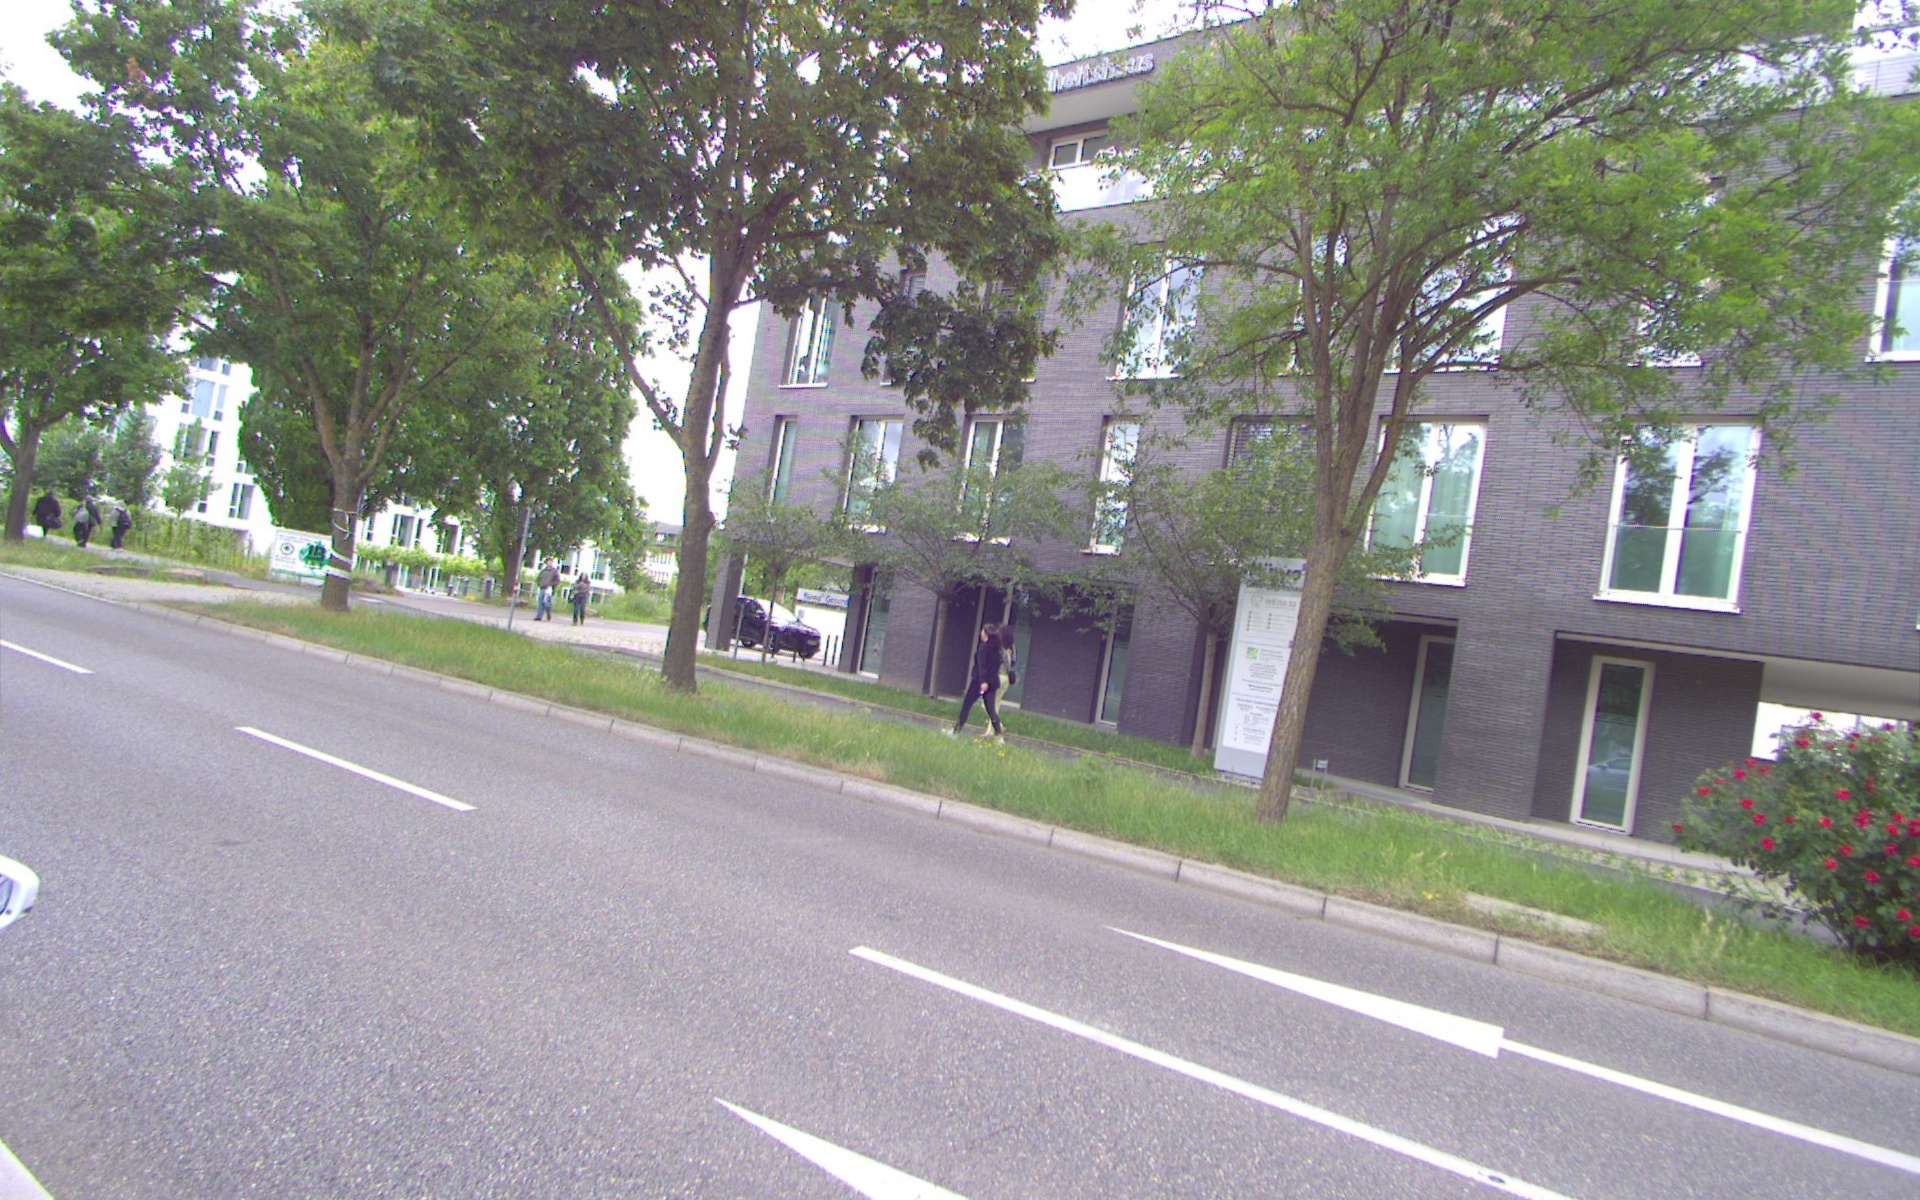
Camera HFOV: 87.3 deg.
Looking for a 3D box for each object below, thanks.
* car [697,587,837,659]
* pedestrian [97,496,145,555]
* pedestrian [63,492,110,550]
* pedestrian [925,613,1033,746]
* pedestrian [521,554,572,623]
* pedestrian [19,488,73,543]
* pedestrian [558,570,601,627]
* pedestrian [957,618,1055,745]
[{"bbox_3d":[-6.103,0.720,31.688,4.080,1.665,1.759,7,-2,32],"label":"car"},{"bbox_3d":[-26.426,-2.336,31.688,0.868,1.705,0.768,6,-1,31],"label":"pedestrian"},{"bbox_3d":[-26.806,-2.419,30.860,0.868,1.614,0.701,6,-1,31],"label":"pedestrian"},{"bbox_3d":[0.265,1.105,14.008,1.043,1.679,0.796,7,-1,38],"label":"pedestrian"},{"bbox_3d":[-12.279,-0.315,29.907,0.946,1.889,0.978,8,-1,-8],"label":"pedestrian"},{"bbox_3d":[-27.452,-2.531,30.206,1.093,1.465,0.791,6,-1,31],"label":"pedestrian"},{"bbox_3d":[-11.385,-0.046,30.154,0.821,1.575,0.875,8,-1,-8],"label":"pedestrian"},{"bbox_3d":[0.668,1.181,14.598,0.937,1.679,0.779,7,-1,38],"label":"pedestrian"}]
